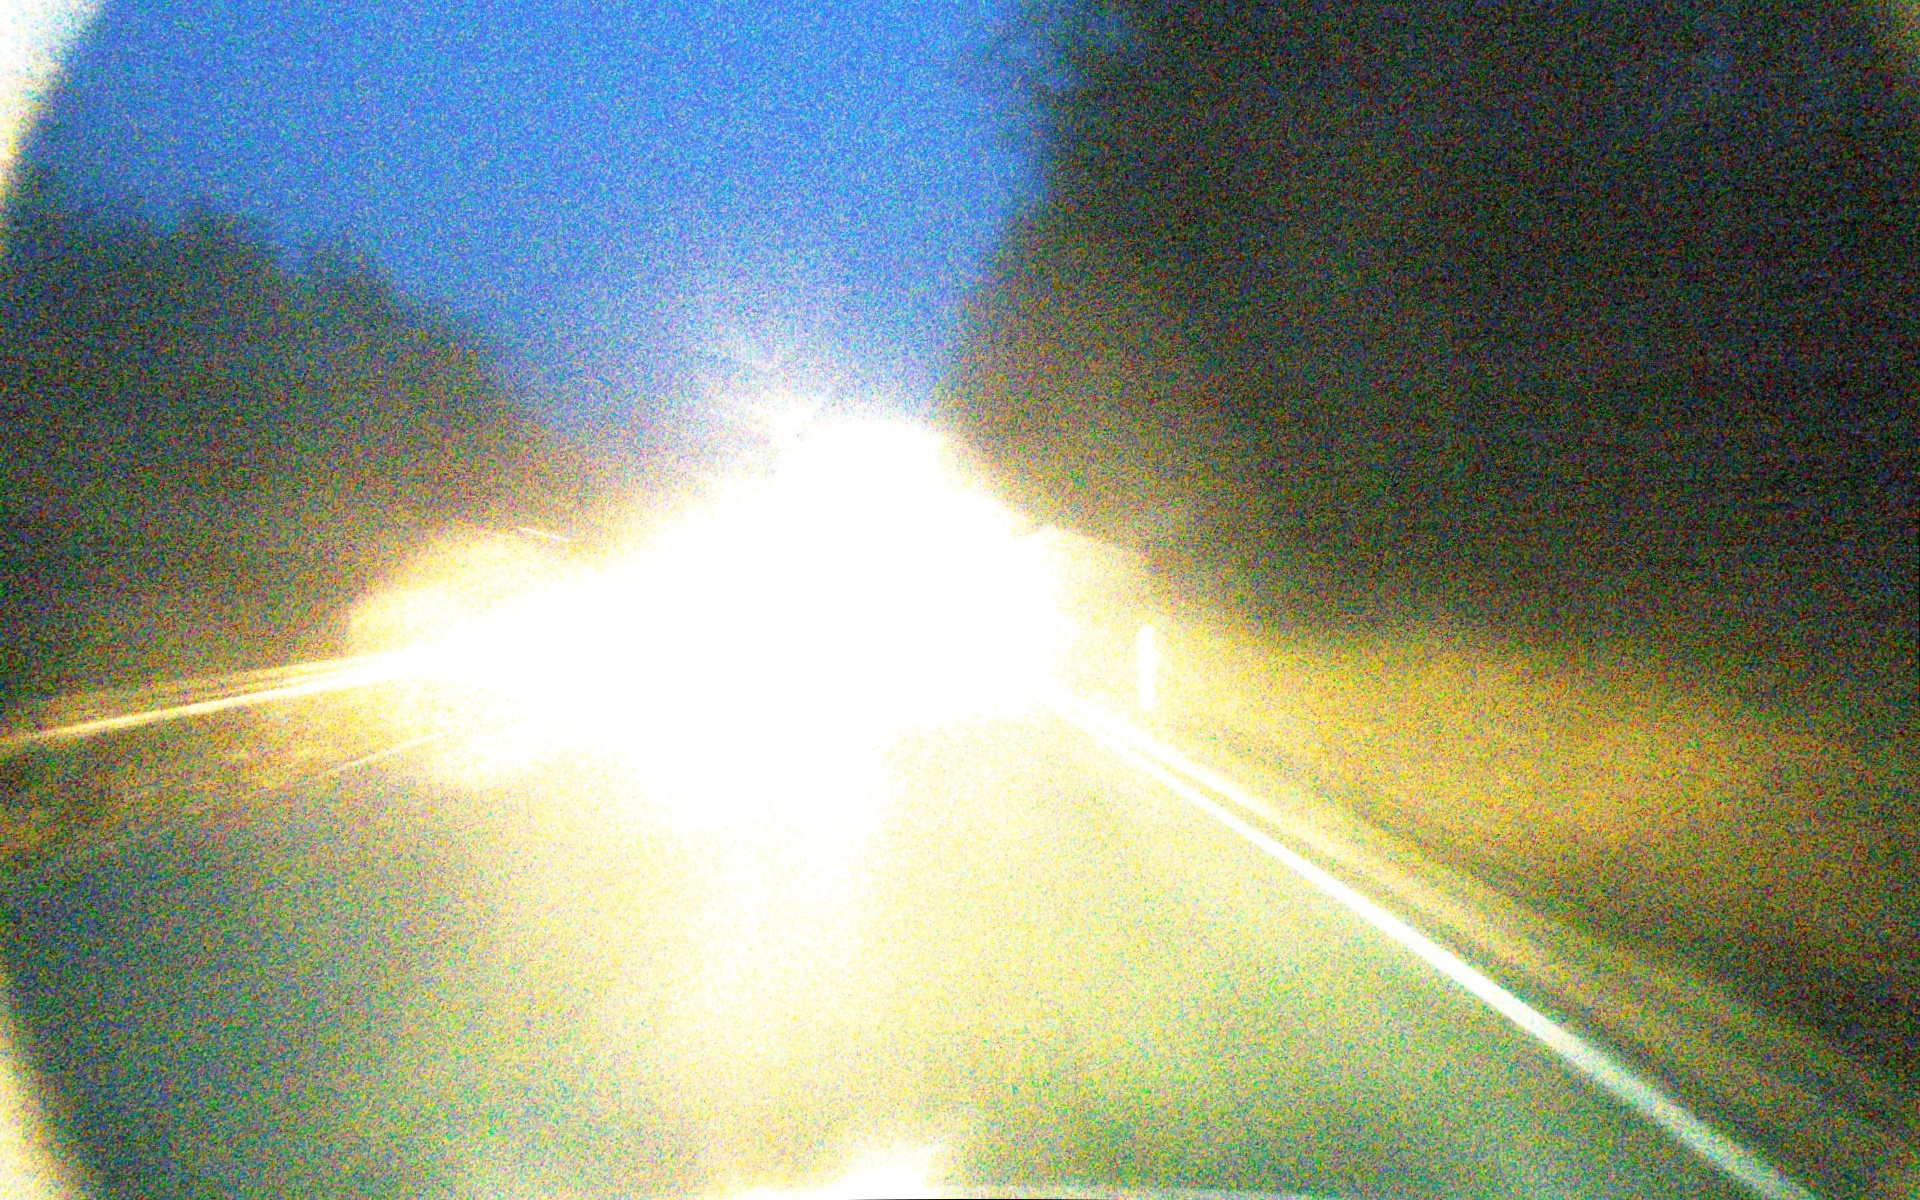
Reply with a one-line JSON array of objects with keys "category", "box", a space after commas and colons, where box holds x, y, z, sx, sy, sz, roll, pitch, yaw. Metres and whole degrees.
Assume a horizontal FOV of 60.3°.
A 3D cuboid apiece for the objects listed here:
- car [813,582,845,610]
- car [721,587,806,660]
[{"category": "car", "box": [-8.026, -0.280, 101.348, 1.772, 1.628, 4.629, 2, 1, -3]}, {"category": "car", "box": [-4.719, 0.529, 40.125, 1.687, 1.641, 4.000, 1, 0, -2]}]
